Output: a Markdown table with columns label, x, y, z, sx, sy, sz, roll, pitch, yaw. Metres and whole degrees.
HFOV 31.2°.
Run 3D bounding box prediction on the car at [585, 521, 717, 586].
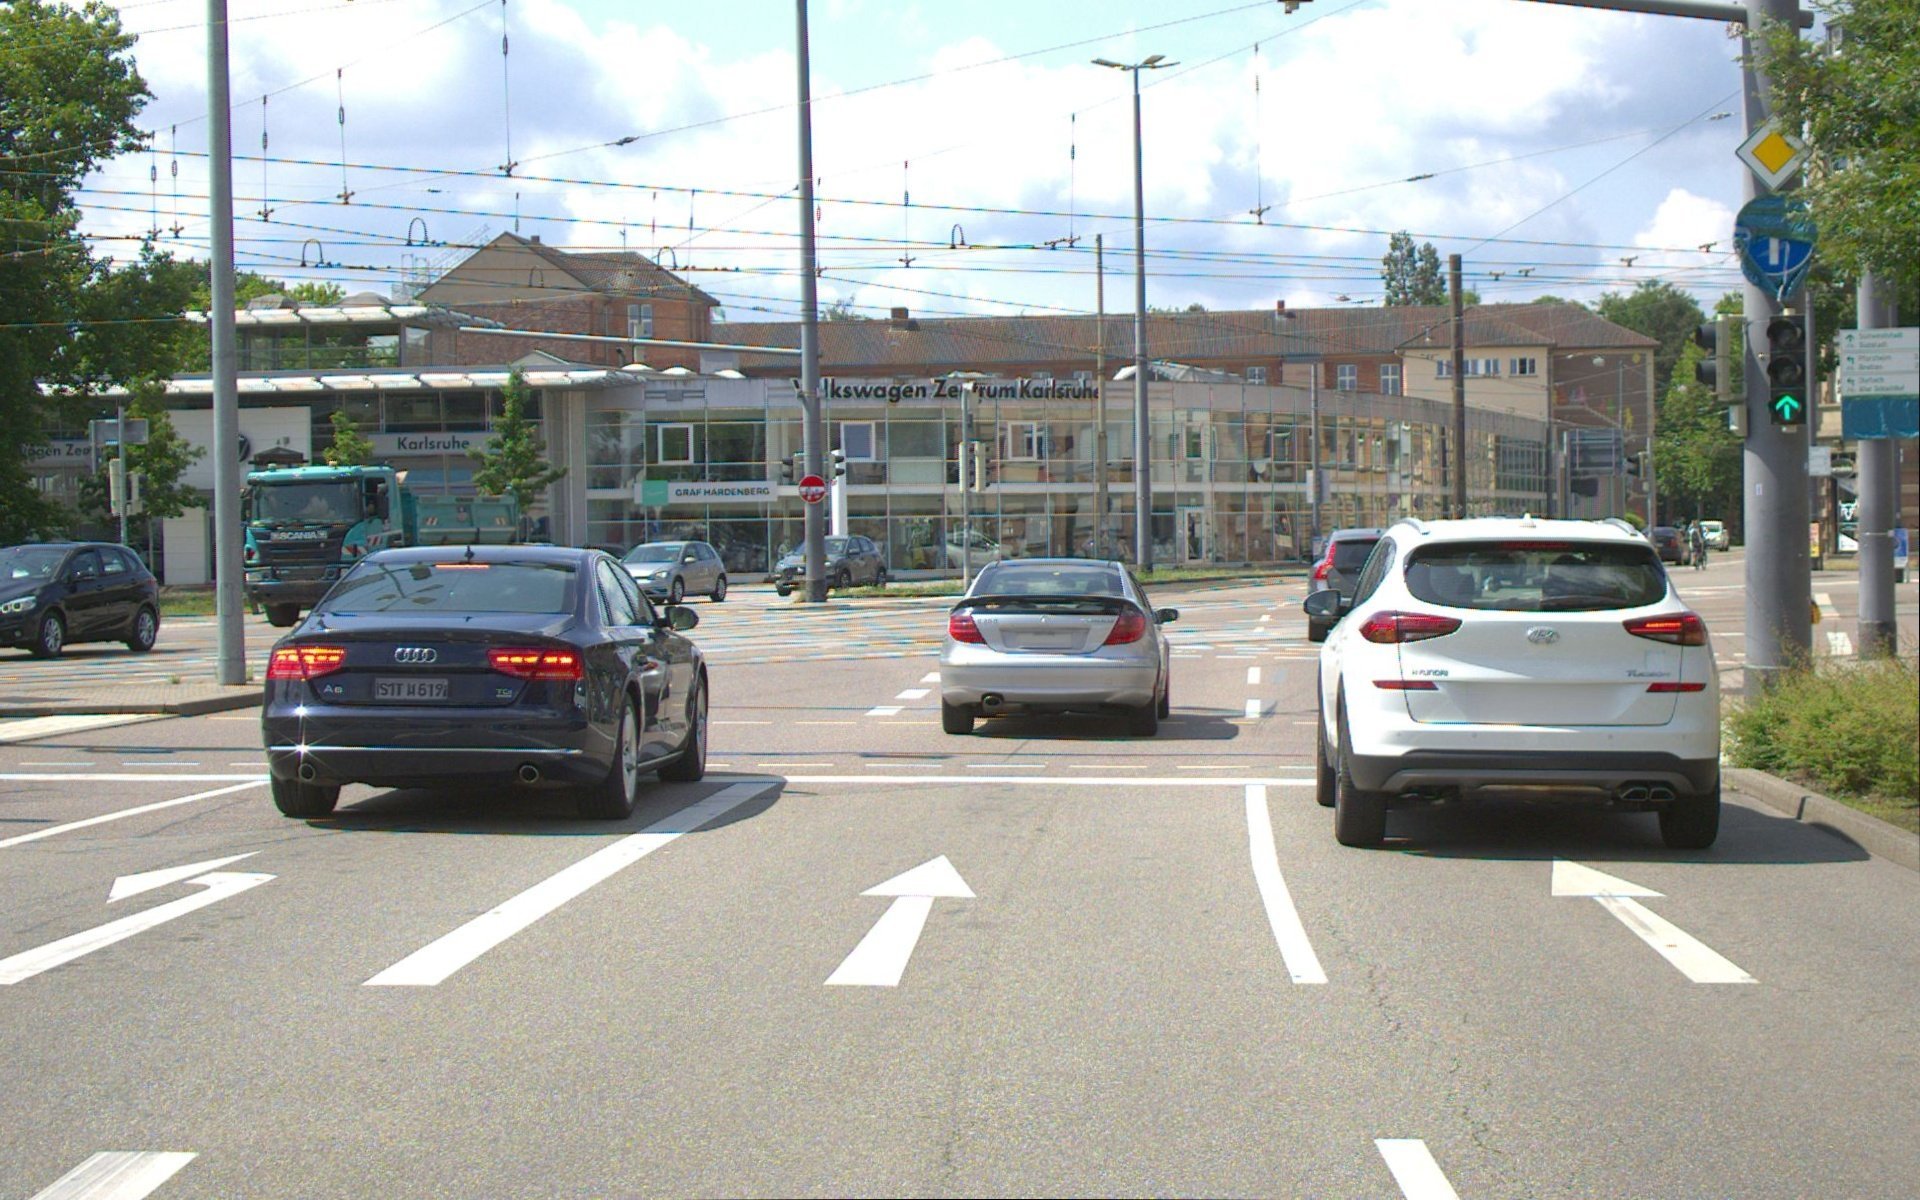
| label | x | y | z | sx | sy | sz | roll | pitch | yaw |
| --- | --- | --- | --- | --- | --- | --- | --- | --- | --- |
| car | -7.092 | -1.091 | 79.296 | 1.654 | 1.429 | 4.268 | -1 | 1 | 15 |

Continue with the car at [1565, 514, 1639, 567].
| label | x | y | z | sx | sy | sz | roll | pitch | yaw |
| --- | --- | --- | --- | --- | --- | --- | --- | --- | --- |
| car | 20.697 | -1.928 | 110.745 | 1.883 | 1.635 | 3.954 | 0 | 1 | 18 |

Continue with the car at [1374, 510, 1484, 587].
| label | x | y | z | sx | sy | sz | roll | pitch | yaw |
| --- | --- | --- | --- | --- | --- | --- | --- | --- | --- |
| car | 10.345 | -1.153 | 75.613 | 1.882 | 1.635 | 3.954 | 0 | 1 | 16 |

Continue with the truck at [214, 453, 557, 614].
| label | x | y | z | sx | sy | sz | roll | pitch | yaw |
| --- | --- | --- | --- | --- | --- | --- | --- | --- | --- |
| truck | -10.751 | -1.280 | 65.452 | 2.887 | 2.842 | 8.786 | -1 | 1 | 16 |

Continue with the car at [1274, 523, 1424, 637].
| label | x | y | z | sx | sy | sz | roll | pitch | yaw |
| --- | --- | --- | --- | --- | --- | --- | --- | --- | --- |
| car | 5.151 | -0.292 | 45.513 | 1.881 | 1.414 | 3.956 | -1 | 1 | 7 |

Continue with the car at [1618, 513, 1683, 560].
| label | x | y | z | sx | sy | sz | roll | pitch | yaw |
| --- | --- | --- | --- | --- | --- | --- | --- | --- | --- |
| car | 24.957 | -2.311 | 124.180 | 1.883 | 1.635 | 3.954 | 0 | 1 | 18 |

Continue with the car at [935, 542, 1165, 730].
| label | x | y | z | sx | sy | sz | roll | pitch | yaw |
| --- | --- | --- | --- | --- | --- | --- | --- | --- | --- |
| car | 0.787 | 0.238 | 28.217 | 1.741 | 1.387 | 4.179 | 0 | 1 | 3 |

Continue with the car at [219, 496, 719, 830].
| label | x | y | z | sx | sy | sz | roll | pitch | yaw |
| --- | --- | --- | --- | --- | --- | --- | --- | --- | --- |
| car | -2.604 | 0.260 | 19.424 | 1.928 | 1.635 | 4.792 | -1 | 1 | 2 |

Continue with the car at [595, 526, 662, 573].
| label | x | y | z | sx | sy | sz | roll | pitch | yaw |
| --- | --- | --- | --- | --- | --- | --- | --- | --- | --- |
| car | -11.555 | -1.736 | 119.932 | 1.993 | 1.568 | 4.000 | 0 | 0 | -1 |

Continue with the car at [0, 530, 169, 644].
| label | x | y | z | sx | sy | sz | roll | pitch | yaw |
| --- | --- | --- | --- | --- | --- | --- | --- | --- | --- |
| car | -12.398 | -0.202 | 46.558 | 1.654 | 1.464 | 4.152 | -1 | 1 | 12 |

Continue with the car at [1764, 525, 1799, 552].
| label | x | y | z | sx | sy | sz | roll | pitch | yaw |
| --- | --- | --- | --- | --- | --- | --- | --- | --- | --- |
| car | 53.219 | -3.978 | 222.714 | 1.883 | 1.687 | 3.954 | 0 | 1 | 17 |

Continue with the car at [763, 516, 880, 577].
| label | x | y | z | sx | sy | sz | roll | pitch | yaw |
| --- | --- | --- | --- | --- | --- | --- | --- | --- | --- |
| car | -3.551 | -1.399 | 88.854 | 1.719 | 1.526 | 4.118 | -1 | 1 | 17 |

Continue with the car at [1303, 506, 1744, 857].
| label | x | y | z | sx | sy | sz | roll | pitch | yaw |
| --- | --- | --- | --- | --- | --- | --- | --- | --- | --- |
| car | 2.858 | 0.338 | 18.269 | 1.881 | 1.635 | 4.232 | -1 | 1 | 4 |

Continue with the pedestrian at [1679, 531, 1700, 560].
| label | x | y | z | sx | sy | sz | roll | pitch | yaw |
| --- | --- | --- | --- | --- | --- | --- | --- | --- | --- |
| pedestrian | 23.064 | -1.712 | 108.658 | 0.525 | 0.903 | 1.560 | 0 | 0 | 17 |

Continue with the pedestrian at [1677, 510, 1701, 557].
| label | x | y | z | sx | sy | sz | roll | pitch | yaw |
| --- | --- | --- | --- | --- | --- | --- | --- | --- | --- |
| pedestrian | 23.048 | -2.094 | 108.657 | 0.693 | 1.452 | 0.679 | 0 | 0 | 17 |

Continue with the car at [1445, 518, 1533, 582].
| label | x | y | z | sx | sy | sz | roll | pitch | yaw |
| --- | --- | --- | --- | --- | --- | --- | --- | --- | --- |
| car | 14.036 | -1.330 | 91.055 | 1.882 | 1.635 | 3.954 | 0 | 1 | 15 |

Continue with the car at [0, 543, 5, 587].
| label | x | y | z | sx | sy | sz | roll | pitch | yaw |
| --- | --- | --- | --- | --- | --- | --- | --- | --- | --- |
| car | -35.086 | -1.262 | 120.632 | 1.993 | 1.568 | 4.178 | 0 | 0 | -1 |
